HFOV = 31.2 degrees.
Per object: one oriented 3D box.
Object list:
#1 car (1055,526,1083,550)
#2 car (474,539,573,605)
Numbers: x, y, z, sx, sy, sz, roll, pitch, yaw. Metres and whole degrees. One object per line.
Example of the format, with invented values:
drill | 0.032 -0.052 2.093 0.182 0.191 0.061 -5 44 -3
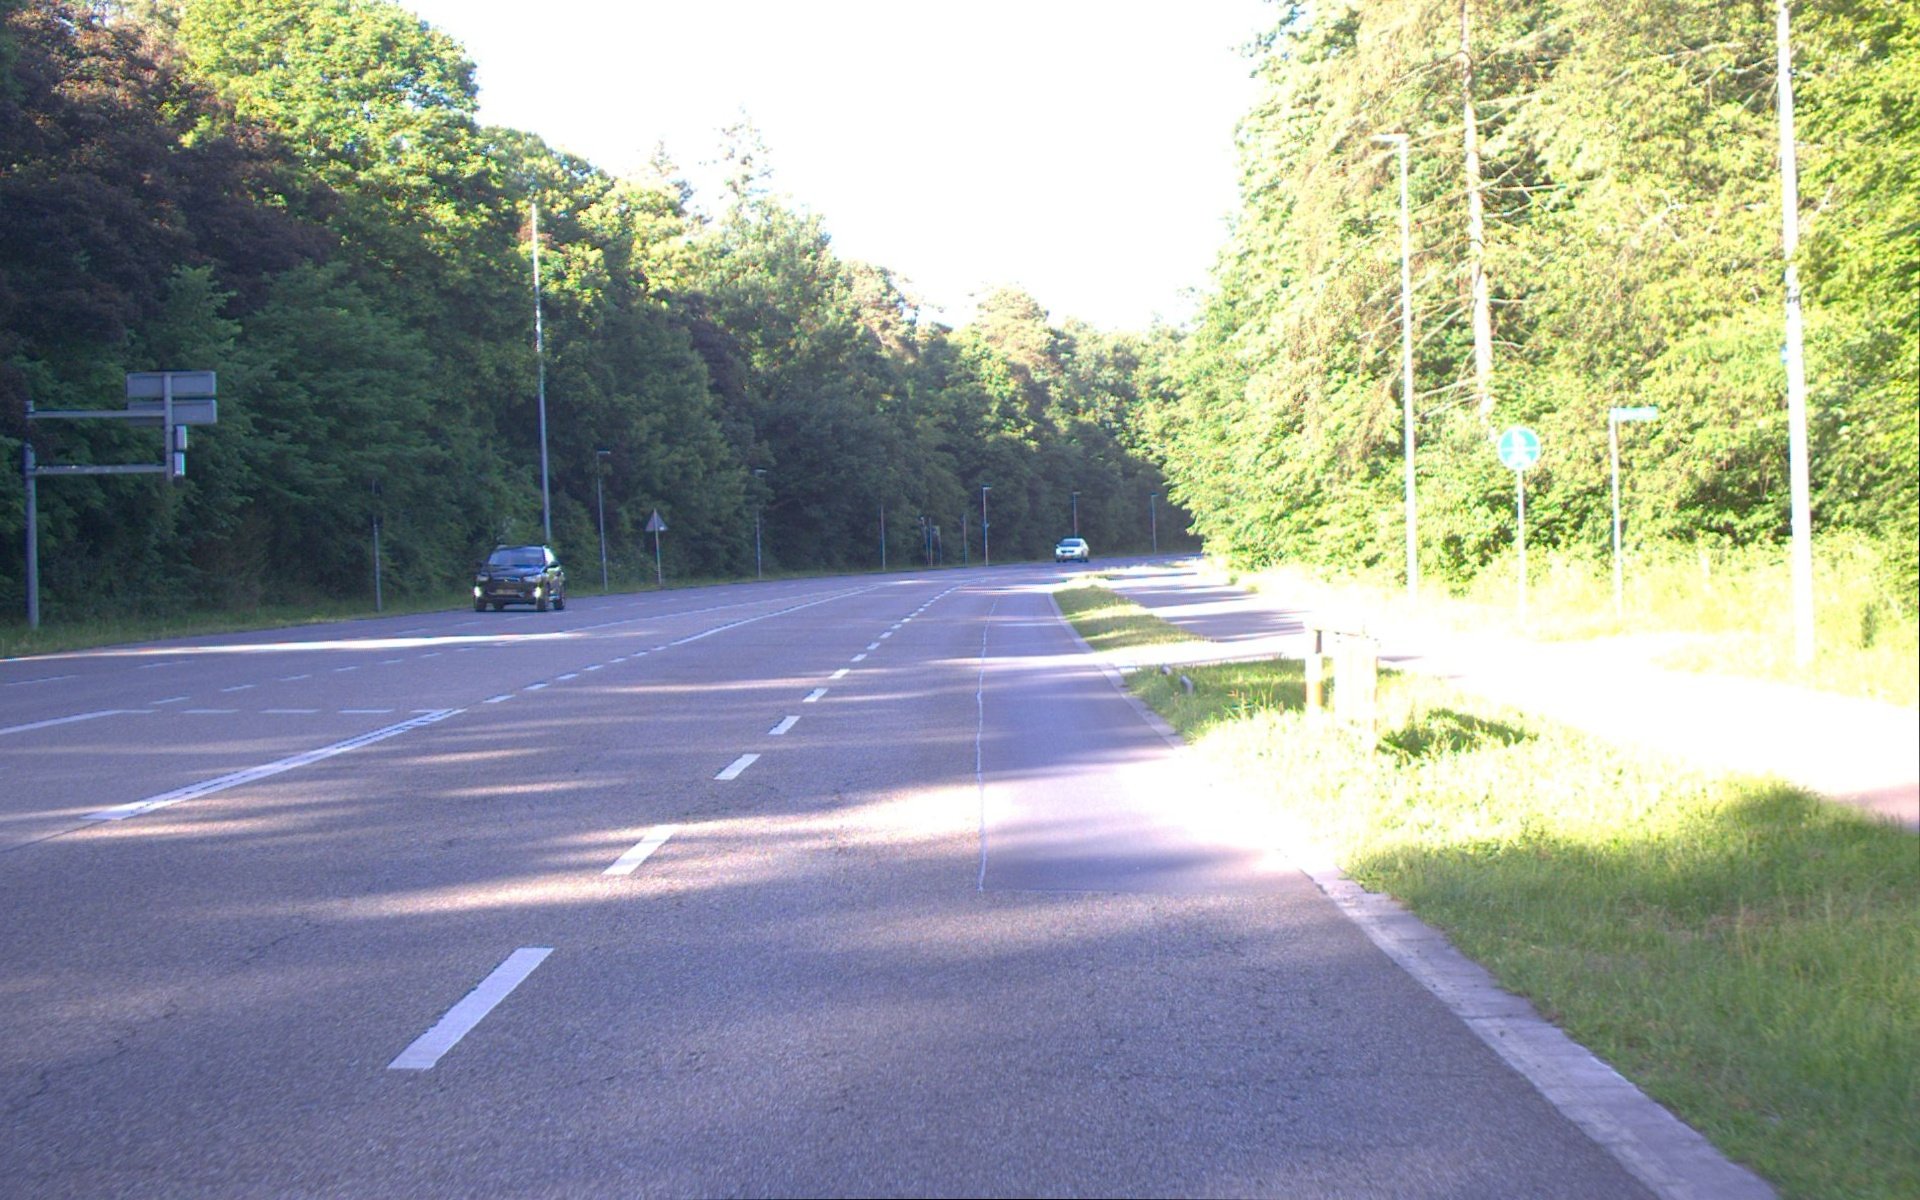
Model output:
car | 7.695 -4.343 242.143 1.908 1.658 4.734 -1 1 1
car | -10.864 -0.724 85.739 1.825 1.584 4.351 -1 1 1
